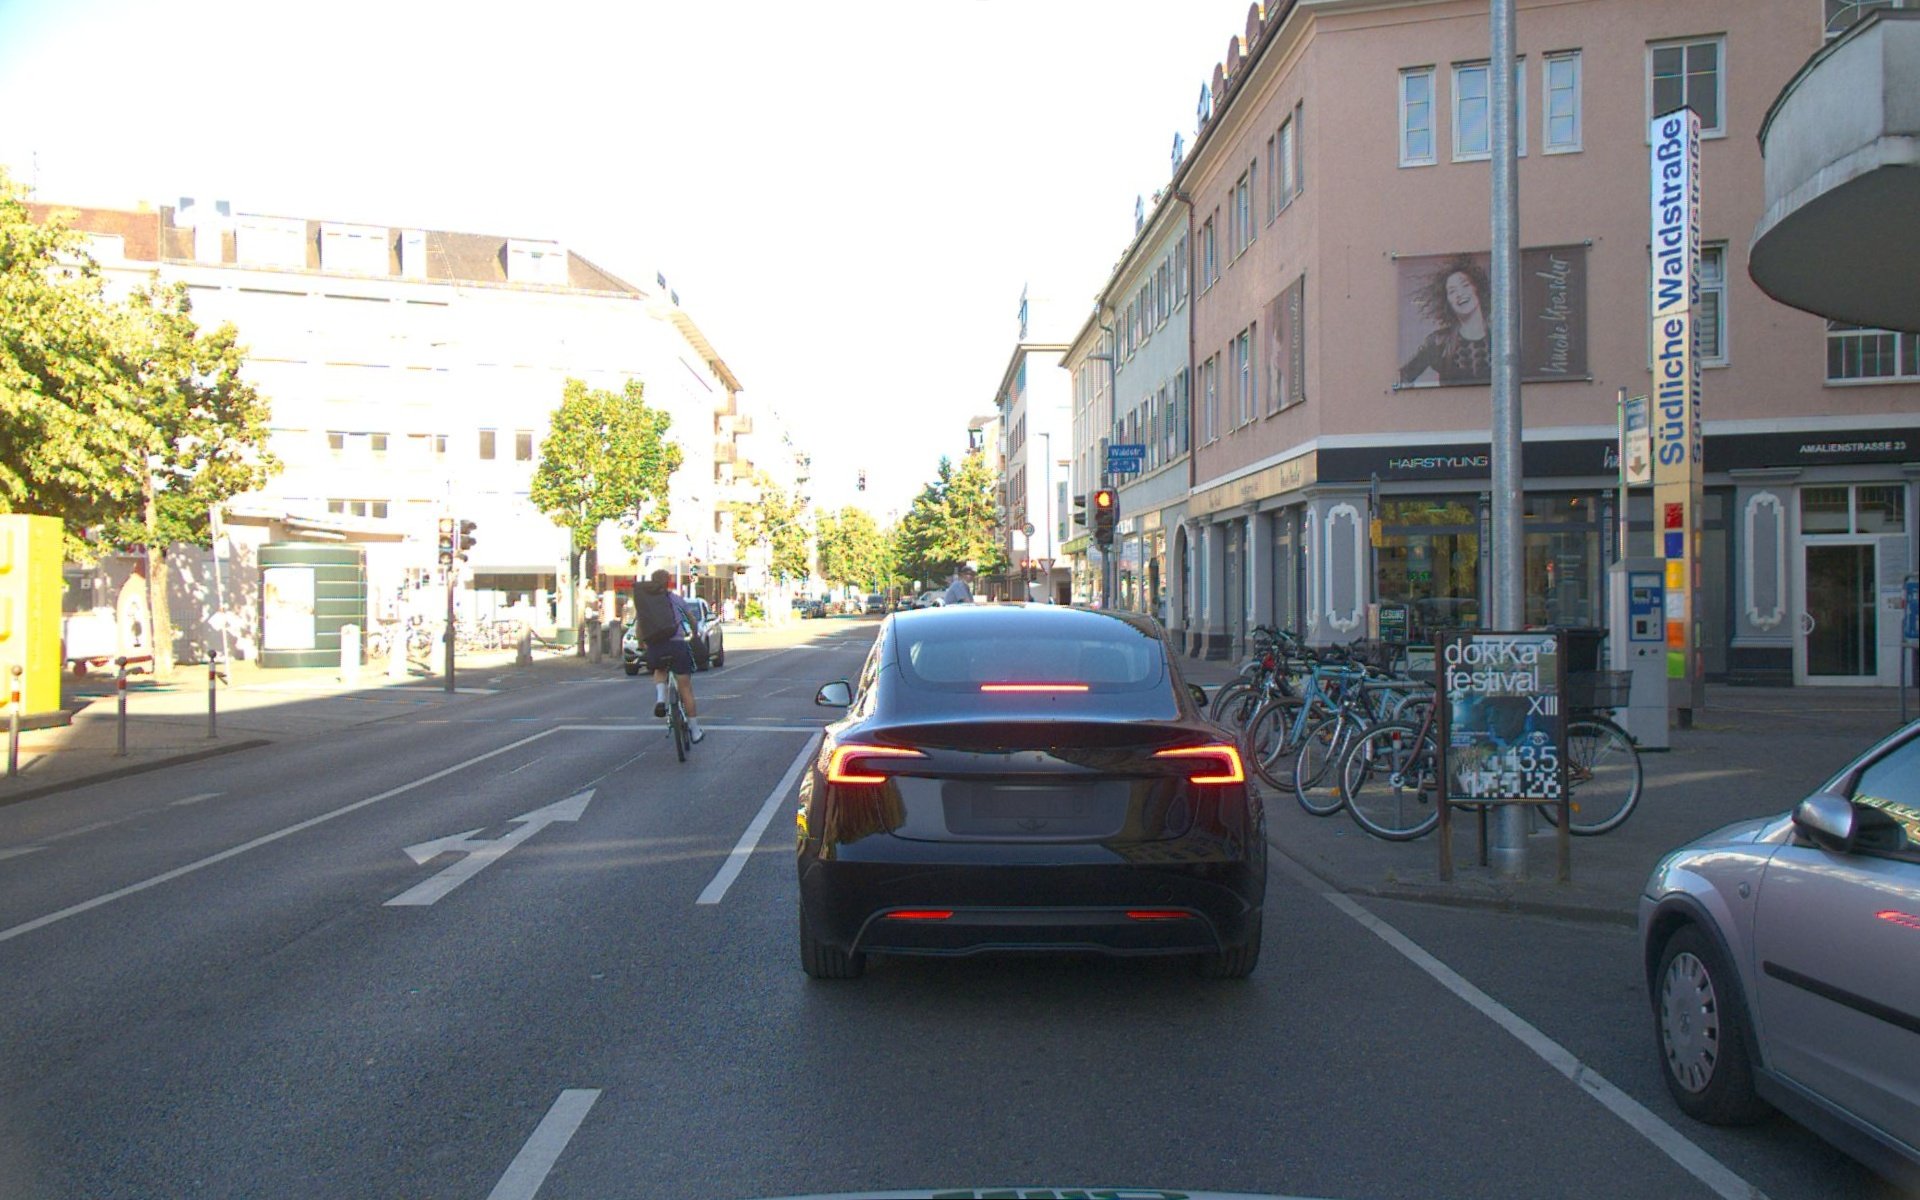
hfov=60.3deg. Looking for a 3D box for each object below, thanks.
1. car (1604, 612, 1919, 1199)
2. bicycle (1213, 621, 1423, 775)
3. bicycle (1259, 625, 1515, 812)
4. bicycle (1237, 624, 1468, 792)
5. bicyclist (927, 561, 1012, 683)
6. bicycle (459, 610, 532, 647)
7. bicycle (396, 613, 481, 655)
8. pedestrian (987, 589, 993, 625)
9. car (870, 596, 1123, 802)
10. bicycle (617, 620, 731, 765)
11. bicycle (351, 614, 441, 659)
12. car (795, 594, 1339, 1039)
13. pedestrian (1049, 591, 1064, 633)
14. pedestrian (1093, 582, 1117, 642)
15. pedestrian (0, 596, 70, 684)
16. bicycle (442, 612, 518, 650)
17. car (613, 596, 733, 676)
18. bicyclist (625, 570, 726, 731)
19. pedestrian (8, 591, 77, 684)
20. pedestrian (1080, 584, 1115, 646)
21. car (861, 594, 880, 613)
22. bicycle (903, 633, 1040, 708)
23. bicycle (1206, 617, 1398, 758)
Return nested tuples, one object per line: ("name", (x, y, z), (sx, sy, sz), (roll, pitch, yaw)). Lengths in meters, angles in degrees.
("car", (2.914, 0.755, 3.504), (1.588, 1.419, 3.886), (0, 0, 0))
("bicycle", (2.930, 0.789, 13.573), (1.595, 1.180, 0.432), (-2, 0, -2))
("bicycle", (2.883, 0.791, 11.232), (1.595, 1.180, 0.432), (-2, 0, -2))
("bicycle", (2.931, 0.798, 12.411), (1.595, 1.180, 0.432), (-2, 0, -2))
("bicyclist", (0.138, 0.304, 23.189), (1.096, 1.683, 0.629), (0, 0, 10))
("bicycle", (-14.579, 0.893, 51.936), (2.040, 1.123, 0.806), (0, 0, -1))
("bicycle", (-14.167, 0.917, 44.974), (2.040, 1.123, 0.806), (0, 0, -1))
("pedestrian", (1.716, 0.415, 94.739), (0.376, 2.049, 0.297), (0, 0, -1))
("car", (0.264, 0.707, 13.794), (1.812, 1.480, 3.786), (0, 0, 0))
("bicycle", (-2.644, 0.824, 15.483), (0.780, 1.254, 1.773), (0, 0, -1))
("bicycle", (-14.460, 0.929, 42.449), (2.040, 1.123, 0.806), (0, 0, -1))
("car", (0.360, 0.720, 7.411), (1.812, 1.480, 3.786), (0, 0, 0))
("pedestrian", (3.934, 0.479, 67.262), (0.559, 1.720, 0.387), (0, 0, -1))
("pedestrian", (4.409, 0.369, 50.245), (0.689, 1.814, 0.533), (0, 0, -1))
("pedestrian", (-17.826, 0.754, 31.853), (0.966, 1.665, 0.737), (0, 0, 3))
("bicycle", (-14.436, 0.934, 49.744), (2.040, 1.123, 0.806), (0, 0, -1))
("car", (-6.325, 0.745, 36.845), (1.953, 1.567, 3.999), (-3, 0, -1))
("bicyclist", (-2.648, 0.456, 15.489), (0.780, 1.460, 1.008), (0, 0, -1))
("pedestrian", (-17.666, 0.715, 31.857), (0.882, 1.755, 0.744), (0, 0, 3))
("pedestrian", (4.171, 0.457, 50.176), (0.979, 1.883, 0.615), (0, 0, -1))
("car", (-8.533, 0.308, 158.431), (1.793, 1.754, 3.998), (0, 0, -2))
("bicycle", (0.166, 0.972, 23.173), (1.823, 0.962, 0.629), (1, 0, 10))
("bicycle", (3.046, 0.776, 14.796), (1.594, 1.180, 0.433), (-2, 0, 0))
